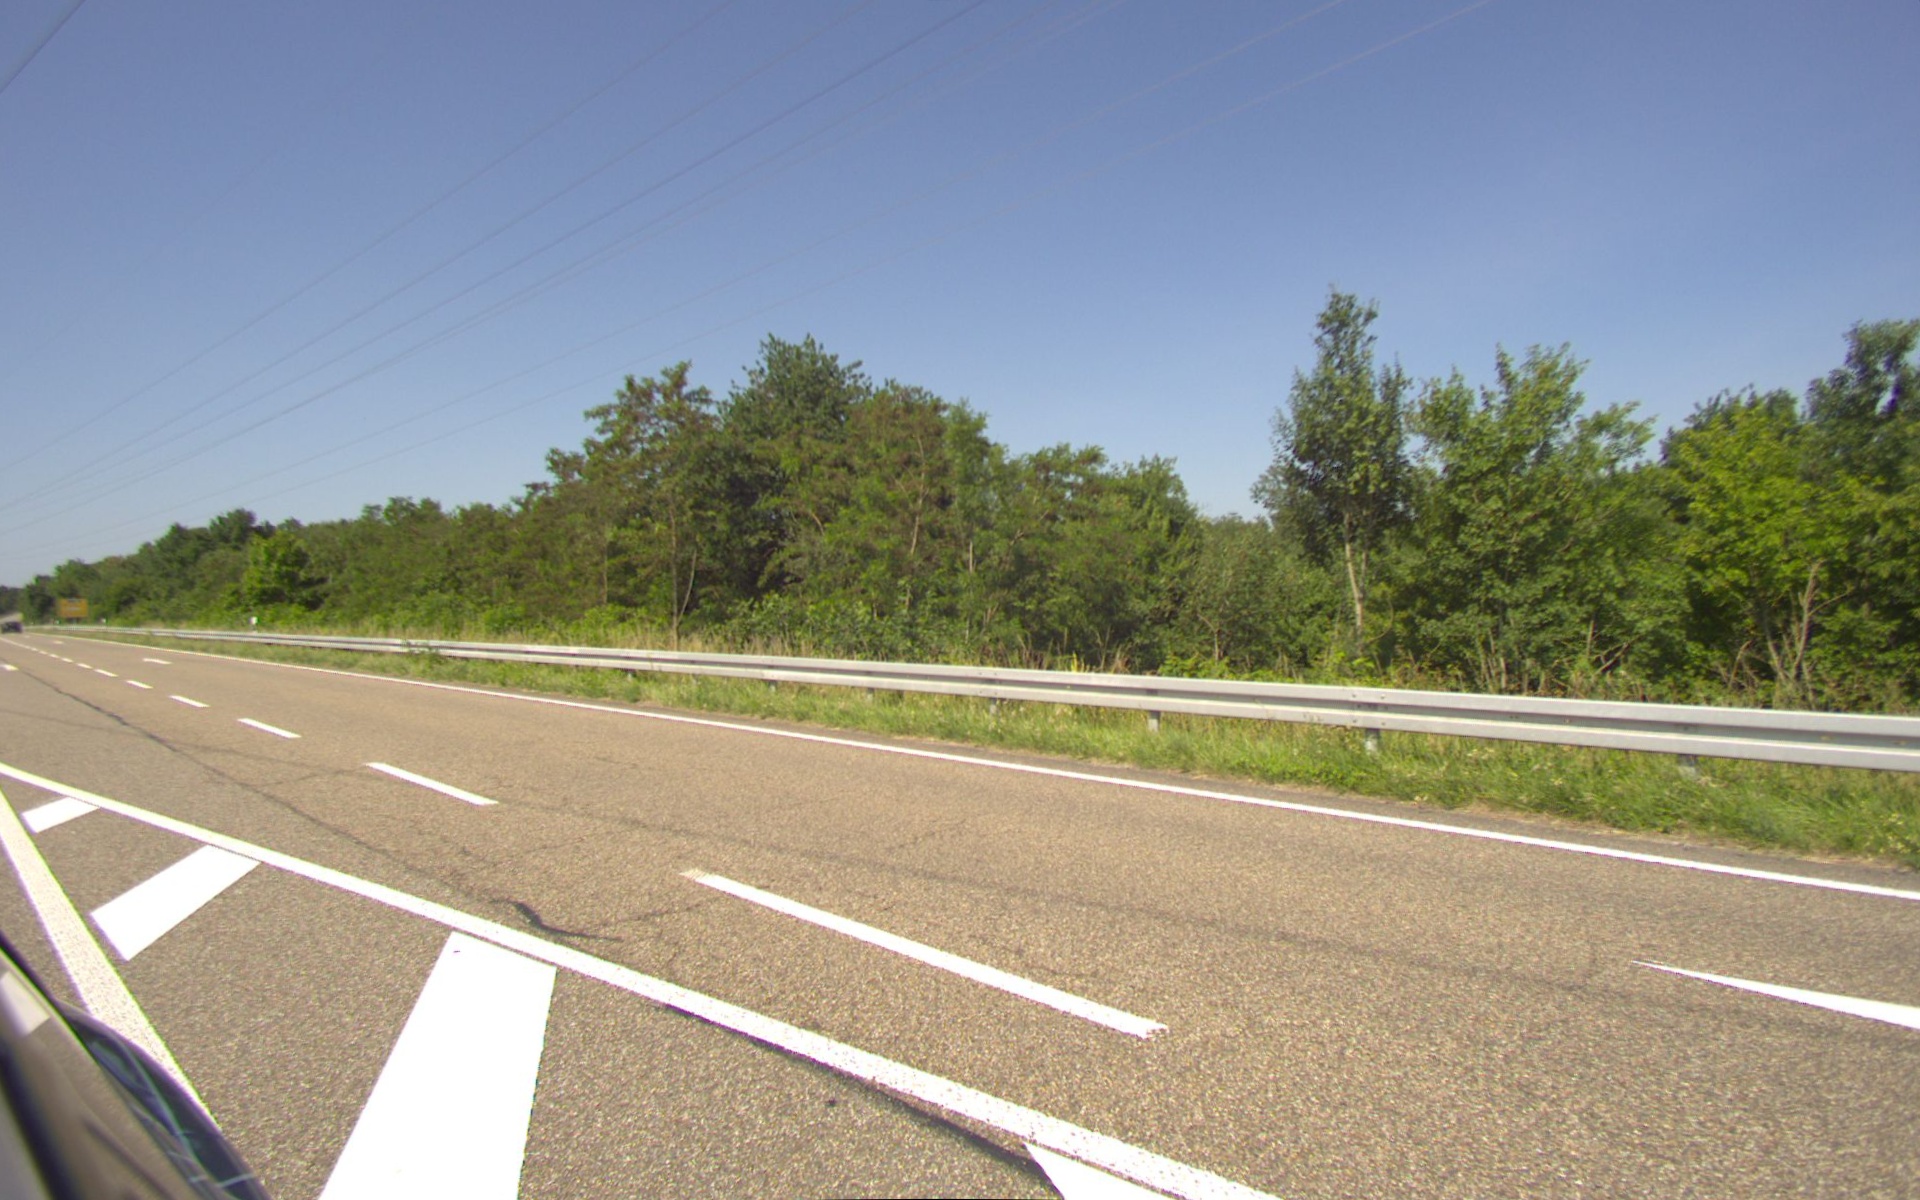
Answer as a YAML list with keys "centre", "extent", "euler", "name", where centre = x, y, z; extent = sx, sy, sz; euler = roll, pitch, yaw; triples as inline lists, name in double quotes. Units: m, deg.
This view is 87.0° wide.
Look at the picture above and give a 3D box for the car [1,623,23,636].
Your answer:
- centre: [-109.405, 3.361, 116.783]
  extent: [4.215, 1.453, 1.641]
  euler: [-1, 0, 44]
  name: "car"
